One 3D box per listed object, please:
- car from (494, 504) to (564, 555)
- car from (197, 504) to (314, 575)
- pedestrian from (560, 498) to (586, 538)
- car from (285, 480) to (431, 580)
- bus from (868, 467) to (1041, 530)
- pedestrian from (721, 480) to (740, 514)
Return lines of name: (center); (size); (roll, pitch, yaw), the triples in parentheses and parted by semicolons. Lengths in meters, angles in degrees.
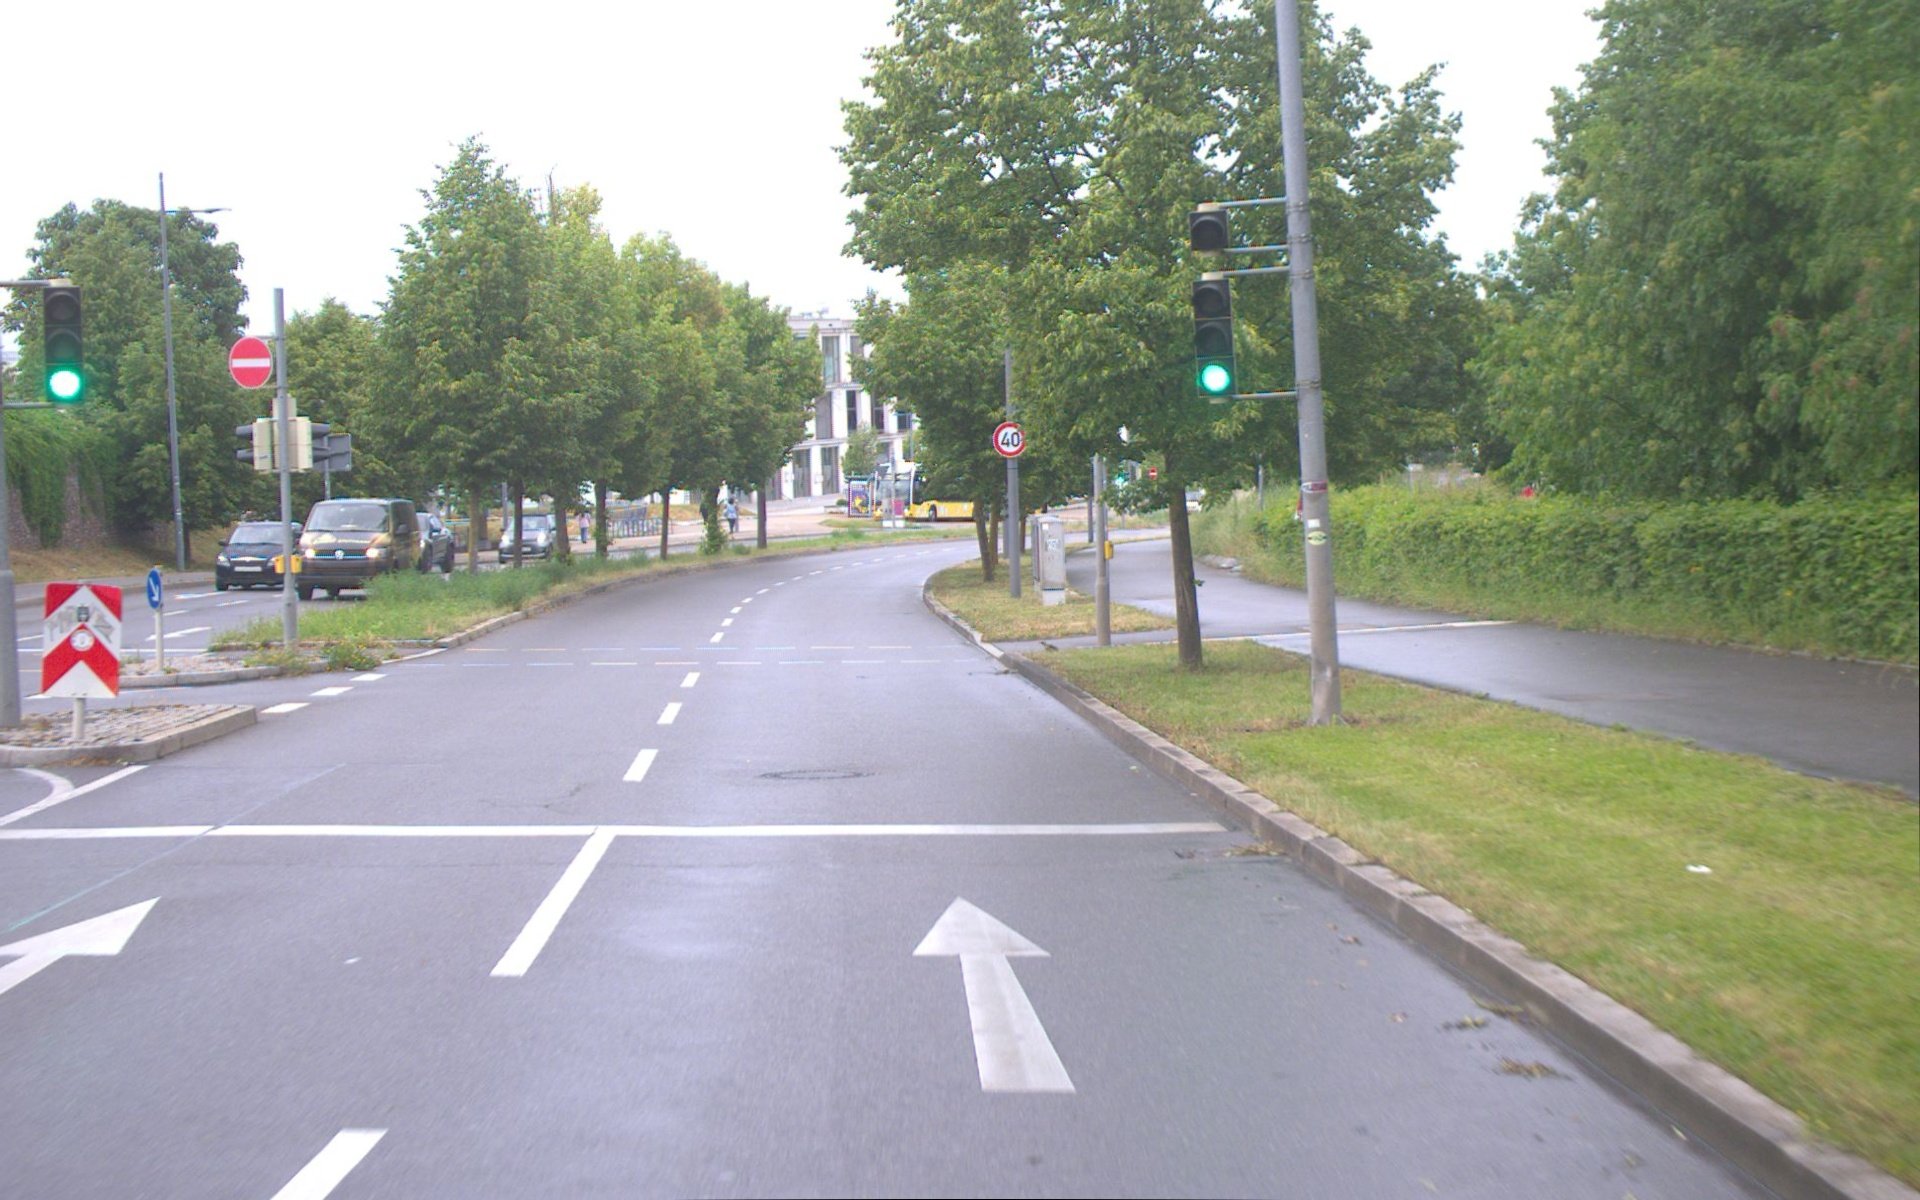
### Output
car: (-13.658, -2.246, 109.035); (1.686, 1.534, 2.916); (0, 2, 3)
car: (-15.235, -1.324, 74.496); (1.598, 1.484, 4.000); (0, 1, 2)
pedestrian: (-15.815, -3.366, 140.472); (0.814, 1.615, 0.935); (0, 0, 11)
car: (-11.863, -1.389, 68.063); (2.013, 1.912, 5.095); (0, 1, 0)
bus: (-0.132, -5.937, 203.659); (2.788, 3.345, 18.202); (0, 1, 25)
pedestrian: (-10.571, -4.737, 158.383); (0.834, 1.568, 0.719); (0, 0, -6)
